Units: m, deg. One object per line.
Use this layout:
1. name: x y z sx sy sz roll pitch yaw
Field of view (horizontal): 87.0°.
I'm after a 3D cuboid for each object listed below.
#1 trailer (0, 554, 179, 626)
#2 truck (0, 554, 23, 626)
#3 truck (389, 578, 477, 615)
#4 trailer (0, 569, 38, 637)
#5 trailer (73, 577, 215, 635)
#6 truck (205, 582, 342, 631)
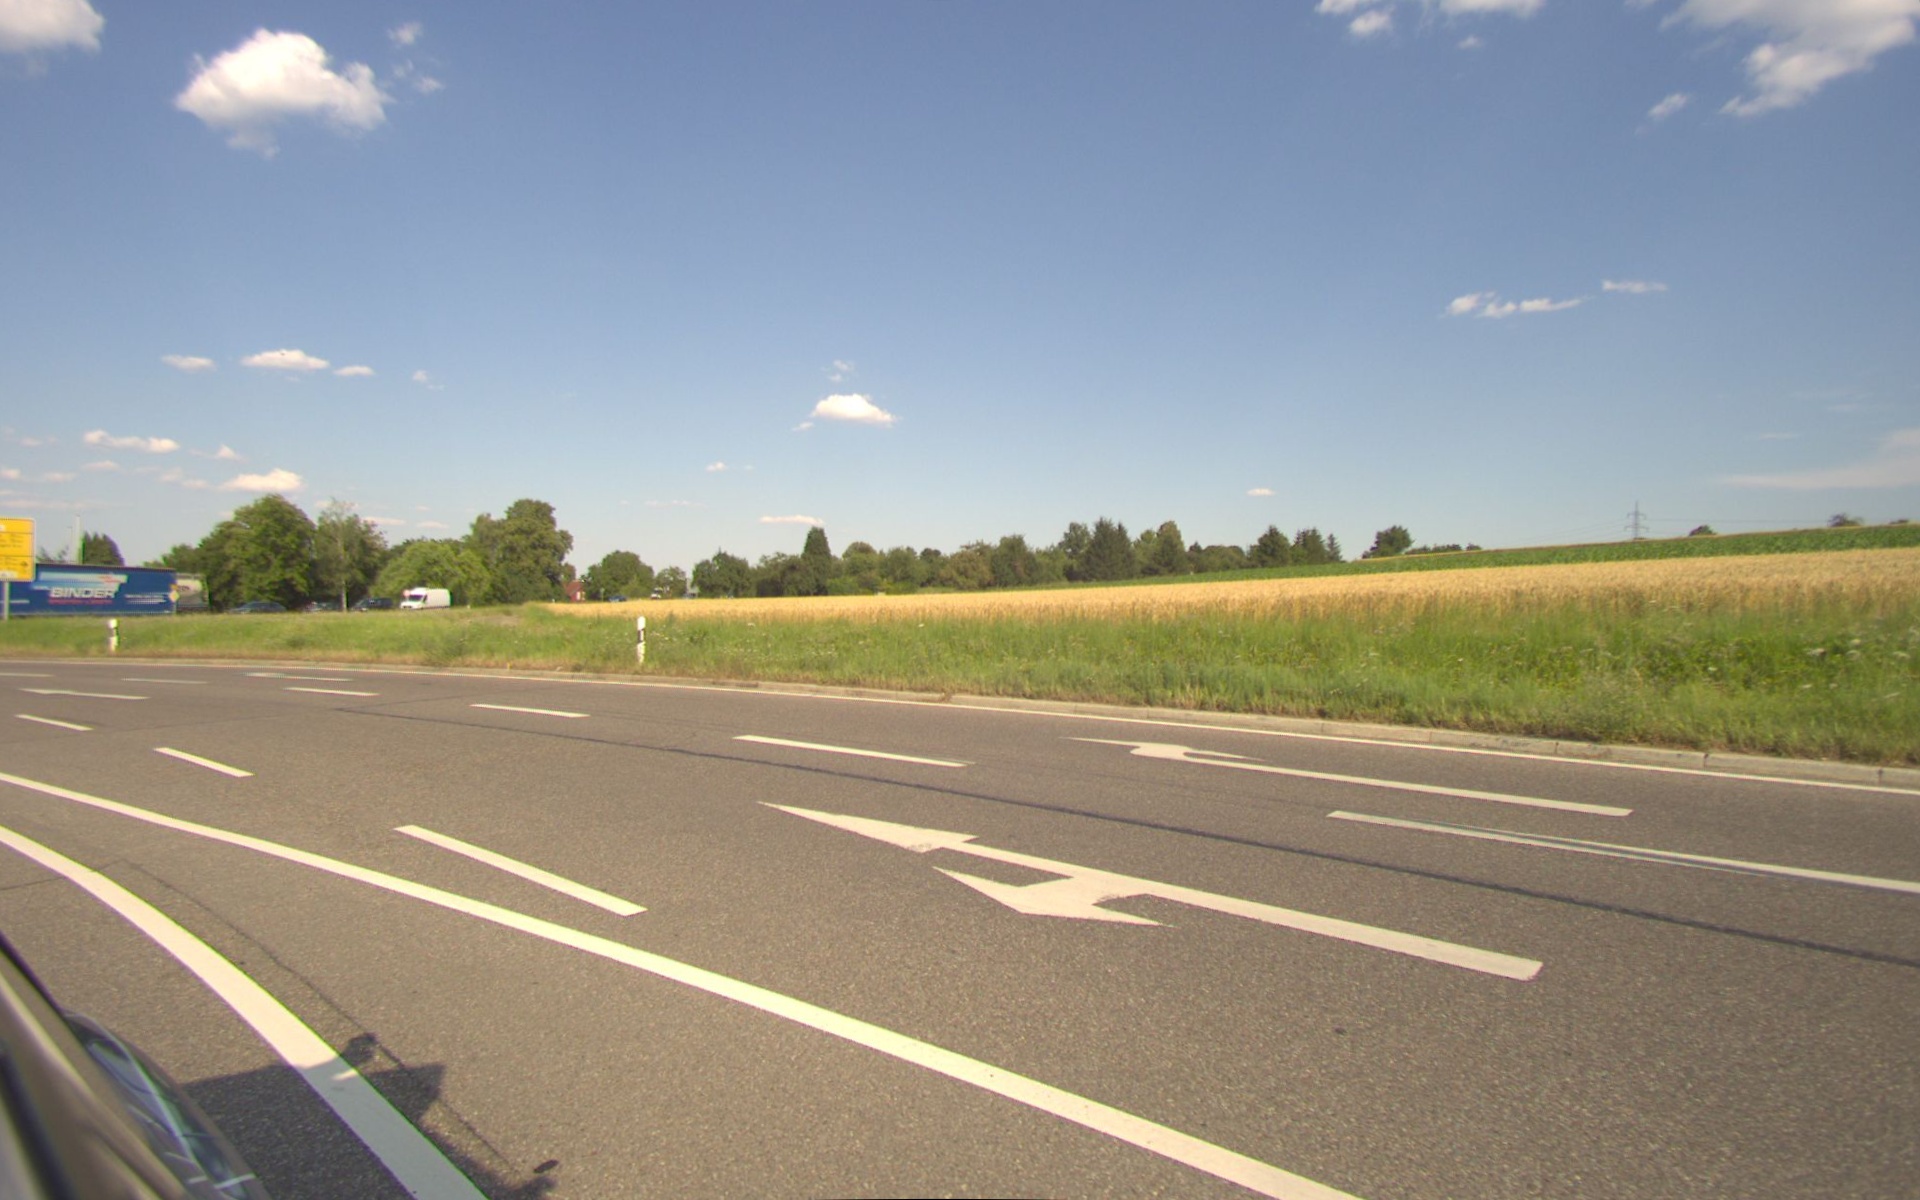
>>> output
1. trailer: -55.222 -0.530 62.315 3.372 4.035 13.743 -1 0 1
2. truck: -55.350 -0.514 55.161 3.330 4.035 5.599 -1 0 2
3. truck: -57.532 -0.364 110.965 2.496 3.802 12.890 -1 0 2
4. trailer: -58.984 0.186 55.989 2.506 4.097 14.327 -1 0 2
5. trailer: -58.106 0.396 72.493 2.235 3.806 9.520 -2 0 1
6. truck: -58.120 0.518 86.310 2.496 3.802 12.890 -1 0 2
